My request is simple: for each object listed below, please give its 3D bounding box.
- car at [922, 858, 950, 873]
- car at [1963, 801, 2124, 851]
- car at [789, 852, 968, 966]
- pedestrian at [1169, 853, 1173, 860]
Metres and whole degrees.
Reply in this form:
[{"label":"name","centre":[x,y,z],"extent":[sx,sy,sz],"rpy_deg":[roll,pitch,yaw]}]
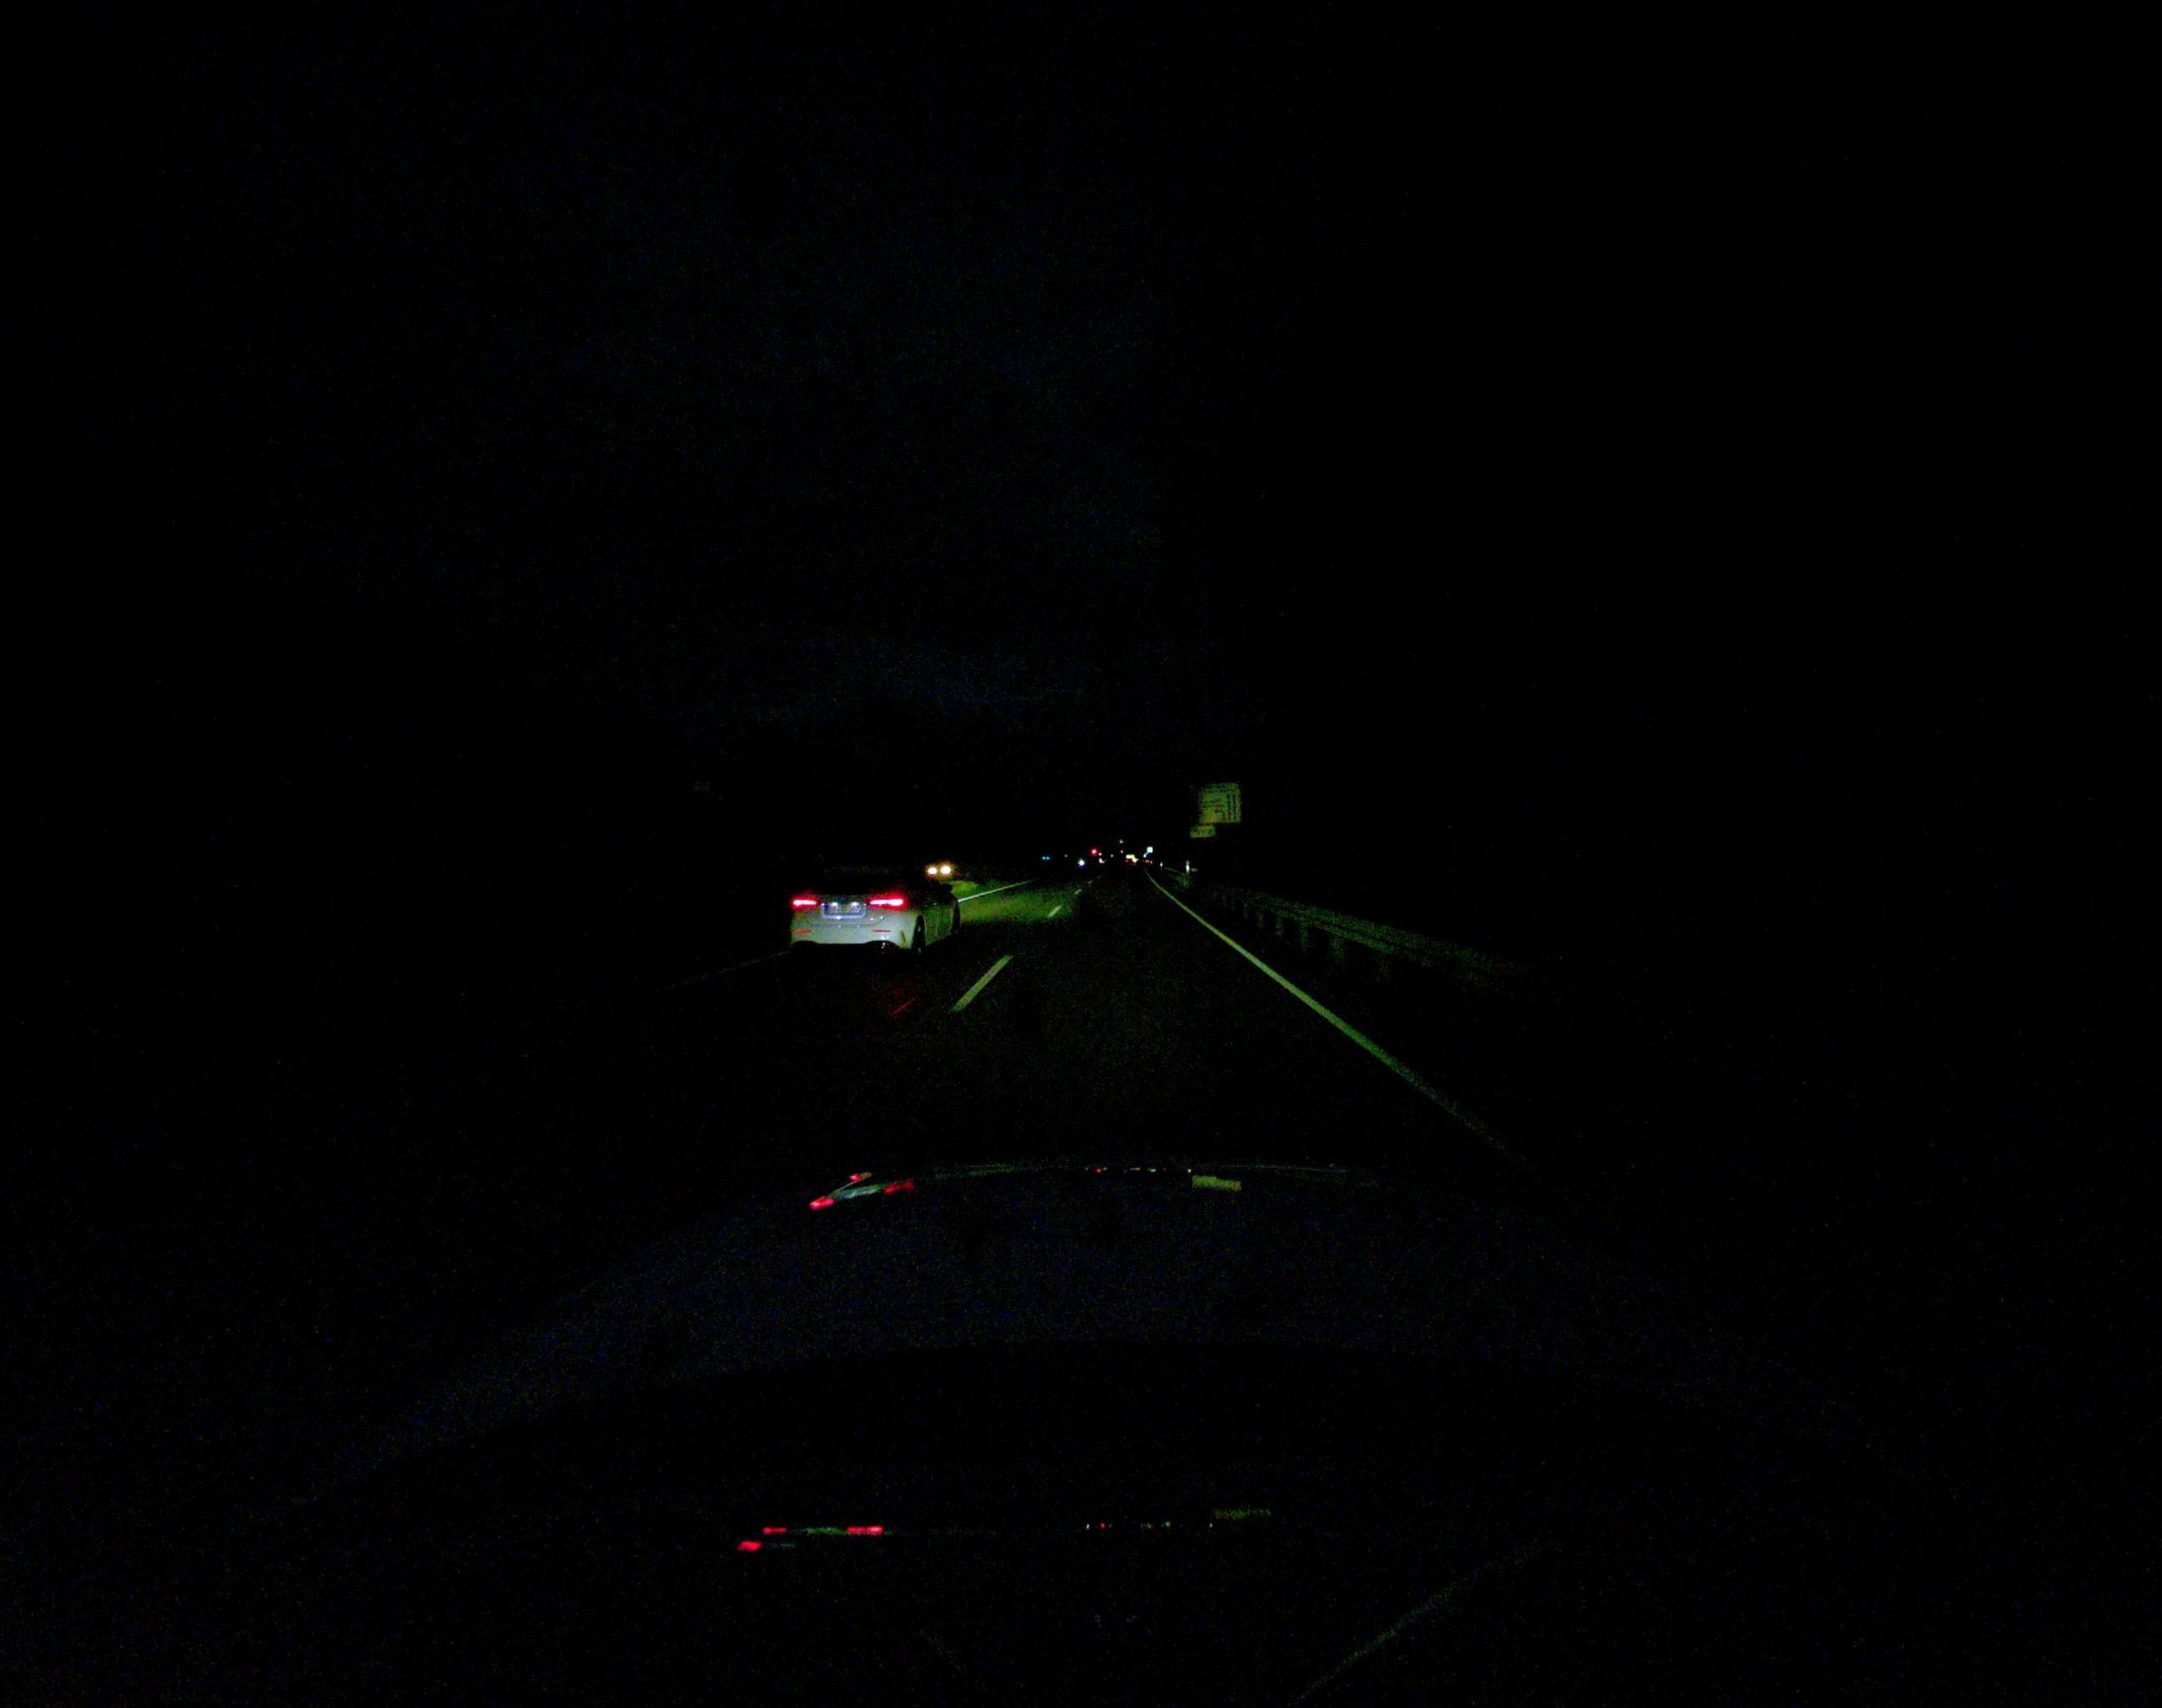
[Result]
[{"label":"car","centre":[-12.977,1.000,73.038],"extent":[1.622,1.323,3.944],"rpy_deg":[0,0,3]},{"label":"car","centre":[45.713,-1.292,38.866],"extent":[1.993,2.152,4.565],"rpy_deg":[-2,0,-9]},{"label":"car","centre":[-2.997,0.728,13.069],"extent":[1.636,1.490,4.580],"rpy_deg":[0,0,1]},{"label":"pedestrian","centre":[22.090,0.589,198.951],"extent":[0.917,1.793,1.107],"rpy_deg":[0,0,4]}]
